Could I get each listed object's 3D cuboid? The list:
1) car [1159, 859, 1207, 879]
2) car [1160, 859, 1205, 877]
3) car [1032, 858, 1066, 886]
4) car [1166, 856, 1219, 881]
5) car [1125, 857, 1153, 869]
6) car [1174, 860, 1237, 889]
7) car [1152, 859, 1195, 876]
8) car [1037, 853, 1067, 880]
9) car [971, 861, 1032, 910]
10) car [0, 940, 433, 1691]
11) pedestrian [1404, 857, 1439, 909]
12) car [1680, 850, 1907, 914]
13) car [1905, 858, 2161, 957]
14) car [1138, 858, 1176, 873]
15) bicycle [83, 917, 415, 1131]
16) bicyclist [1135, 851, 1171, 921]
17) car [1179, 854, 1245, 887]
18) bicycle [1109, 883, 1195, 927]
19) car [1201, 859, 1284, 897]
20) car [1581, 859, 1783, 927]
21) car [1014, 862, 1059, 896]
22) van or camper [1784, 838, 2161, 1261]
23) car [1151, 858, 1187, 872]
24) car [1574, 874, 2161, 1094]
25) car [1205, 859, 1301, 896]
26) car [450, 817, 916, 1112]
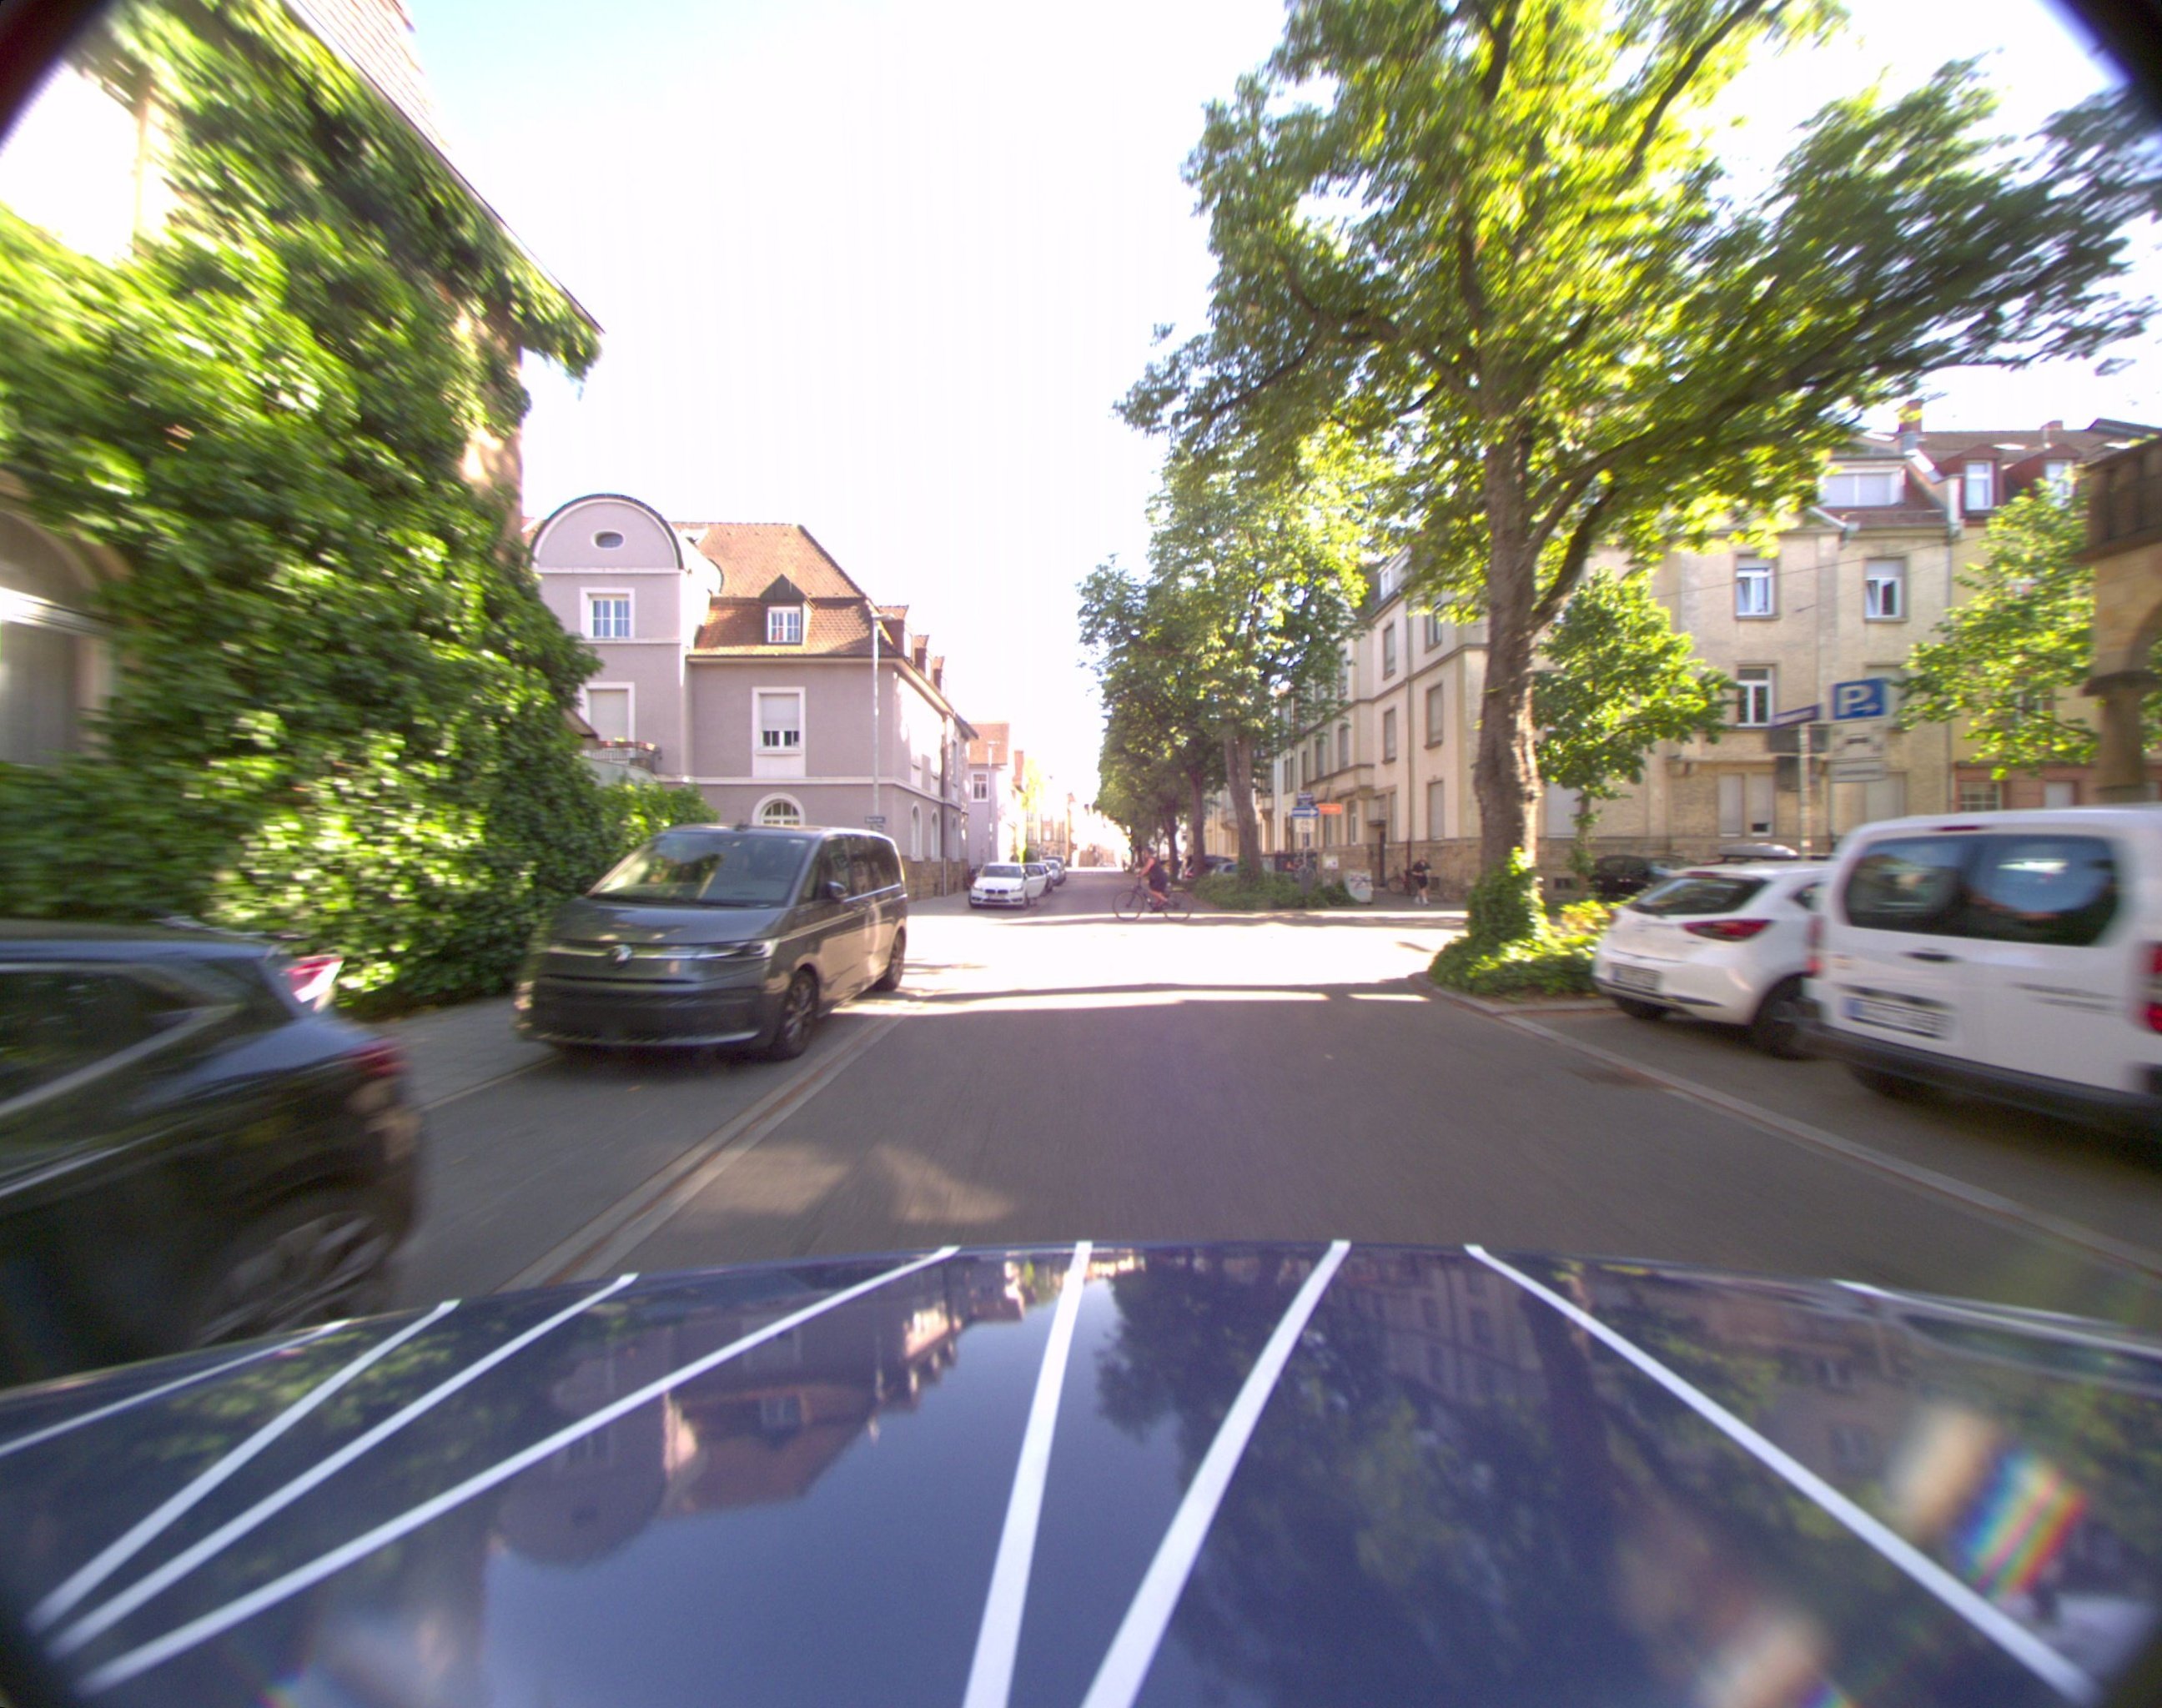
[{"bbox_3d":[7.837,1.135,58.447,3.496,1.420,1.542,-1,0,0],"label":"car"},{"bbox_3d":[8.382,1.125,62.746,3.496,1.420,1.542,-1,0,0],"label":"car"},{"bbox_3d":[-2.057,1.137,49.351,1.822,1.634,4.161,-2,0,2],"label":"car"},{"bbox_3d":[7.773,0.984,53.278,3.496,1.681,1.461,-1,0,0],"label":"car"},{"bbox_3d":[7.527,1.168,98.842,3.496,1.420,1.542,-1,0,0],"label":"car"},{"bbox_3d":[7.459,1.199,45.688,3.496,1.681,1.682,0,0,0],"label":"car"},{"bbox_3d":[7.857,1.140,64.908,3.496,1.420,1.542,-1,0,0],"label":"car"},{"bbox_3d":[-2.281,0.972,59.991,1.998,1.904,4.000,-2,1,2],"label":"car"},{"bbox_3d":[-2.696,1.027,26.635,1.814,1.546,4.105,0,0,-2],"label":"car"},{"bbox_3d":[-3.035,1.000,0.569,1.641,1.413,4.008,0,0,0],"label":"car"},{"bbox_3d":[10.734,0.913,23.958,0.667,1.598,0.979,-1,0,1],"label":"pedestrian"},{"bbox_3d":[17.987,0.624,19.522,1.869,1.433,4.281,0,1,2],"label":"car"},{"bbox_3d":[16.648,0.827,12.582,3.902,1.455,1.895,-1,0,1],"label":"car"},{"bbox_3d":[7.442,1.151,74.543,3.496,1.420,1.542,-1,0,0],"label":"car"},{"bbox_3d":[-5.591,1.063,5.271,0.463,1.104,1.659,1,0,1],"label":"bicycle"},{"bbox_3d":[1.650,0.721,17.485,0.737,1.562,0.755,-1,0,0],"label":"bicyclist"},{"bbox_3d":[7.514,0.932,43.728,3.496,1.882,1.821,0,0,0],"label":"car"},{"bbox_3d":[1.620,1.169,17.495,1.919,0.981,0.595,0,0,0],"label":"bicycle"},{"bbox_3d":[8.303,1.205,38.927,3.992,1.752,2.002,-2,1,15],"label":"car"},{"bbox_3d":[15.329,0.917,19.755,1.869,1.545,4.418,-1,0,2],"label":"car"},{"bbox_3d":[-2.169,1.225,38.286,1.822,1.529,4.161,-2,0,2],"label":"car"},{"bbox_3d":[6.476,0.803,3.938,3.953,1.762,1.809,-1,-1,0],"label":"van or camper"},{"bbox_3d":[8.995,1.135,77.497,3.496,1.420,1.542,-1,0,0],"label":"car"},{"bbox_3d":[6.565,0.965,6.381,3.734,1.507,1.722,-1,0,0],"label":"car"},{"bbox_3d":[7.601,1.026,33.866,3.994,1.424,1.804,-2,1,8],"label":"car"},{"bbox_3d":[-3.090,0.711,7.311,1.857,1.898,4.851,0,0,1],"label":"car"}]
